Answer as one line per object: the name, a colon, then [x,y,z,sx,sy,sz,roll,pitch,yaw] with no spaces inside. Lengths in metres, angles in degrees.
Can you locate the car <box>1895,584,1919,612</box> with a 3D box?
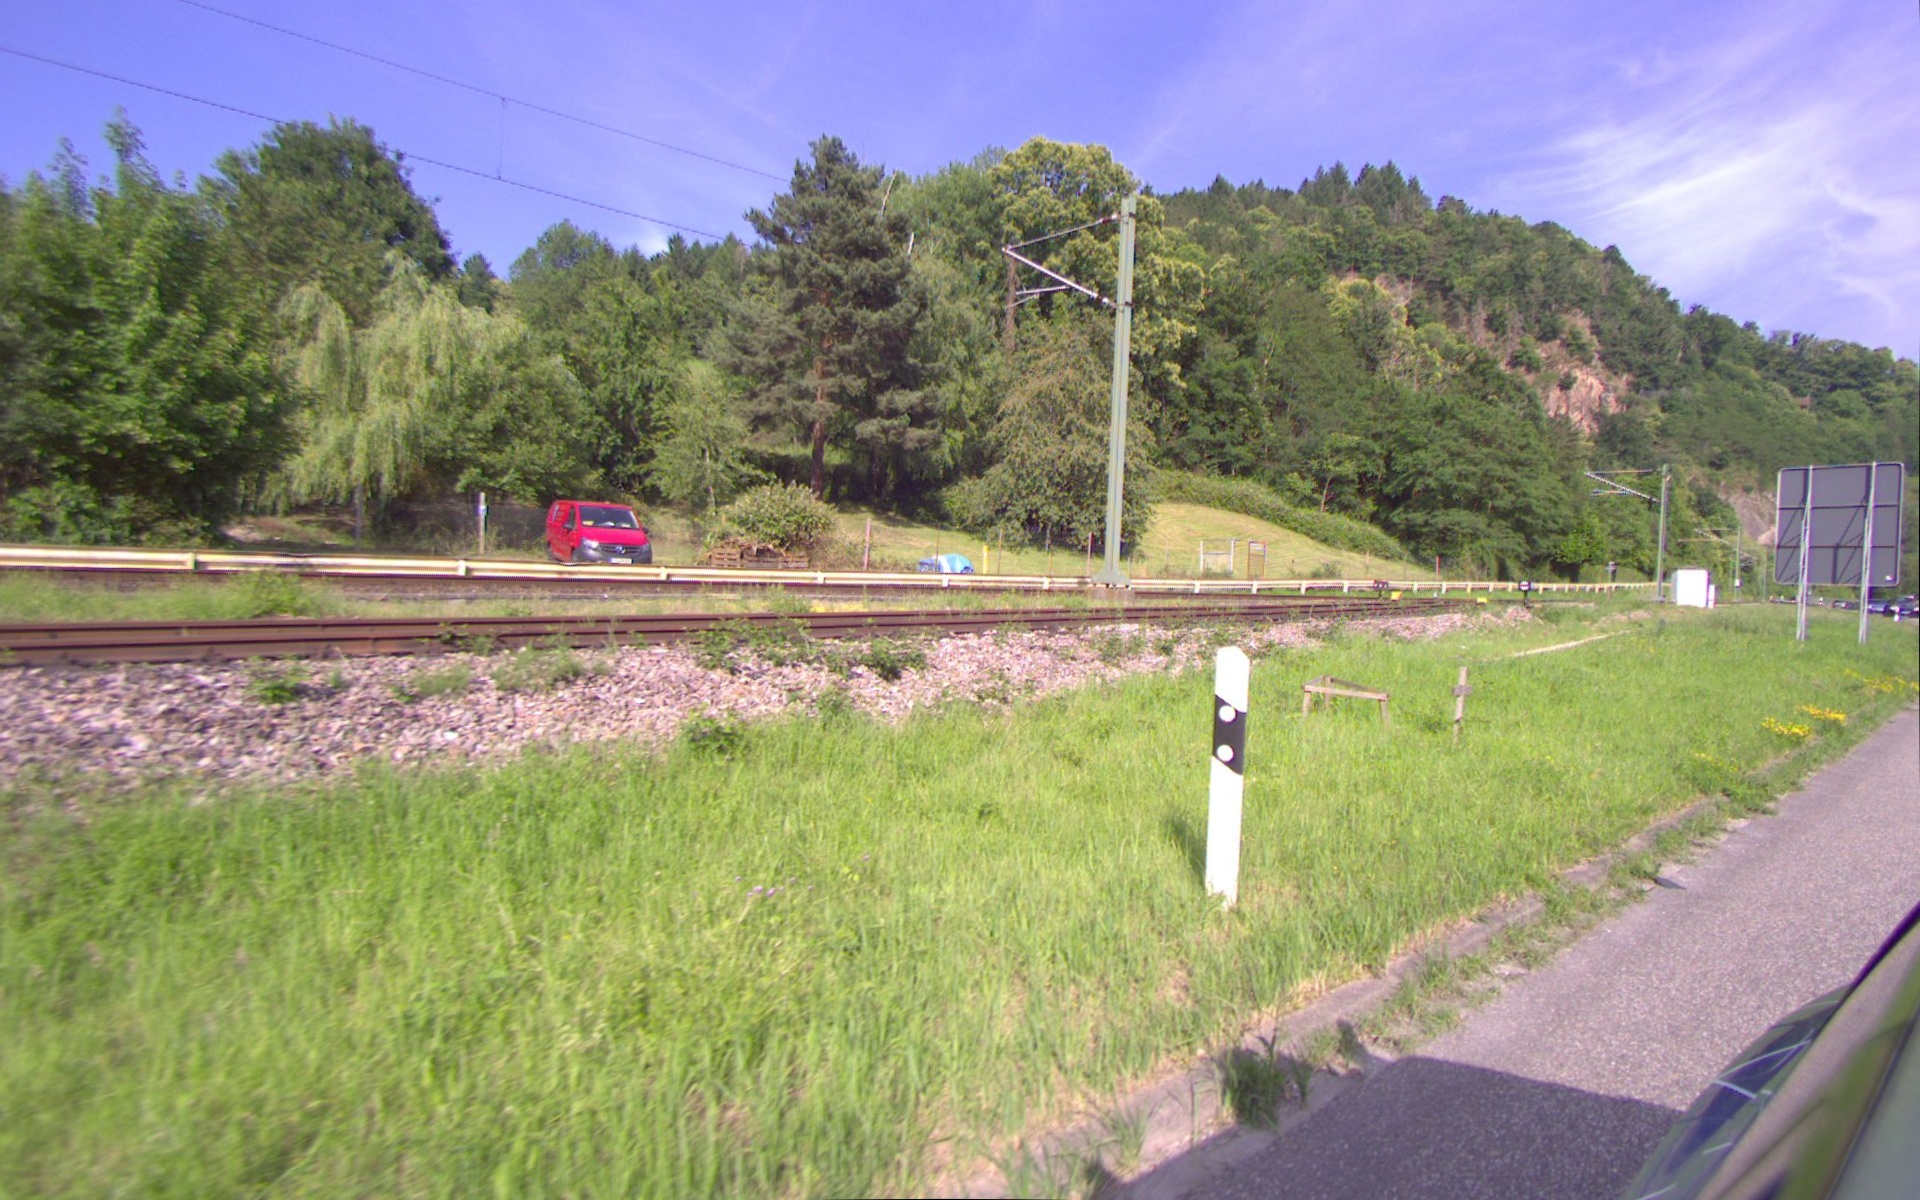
car: [74.708,-0.132,79.204,1.995,2.038,3.936,6,4,44]

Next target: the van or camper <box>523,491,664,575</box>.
van or camper: [-9.871,-1.806,26.945,2.081,1.952,5.437,1,4,-36]

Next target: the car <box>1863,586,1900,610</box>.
car: [84.696,-0.199,93.070,1.990,2.038,3.947,5,3,37]

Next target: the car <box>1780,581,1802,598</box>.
car: [106.154,-1.314,129.225,1.992,2.038,3.941,5,4,40]

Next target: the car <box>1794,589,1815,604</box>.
car: [126.280,-0.556,151.349,1.995,2.038,3.936,6,4,44]
